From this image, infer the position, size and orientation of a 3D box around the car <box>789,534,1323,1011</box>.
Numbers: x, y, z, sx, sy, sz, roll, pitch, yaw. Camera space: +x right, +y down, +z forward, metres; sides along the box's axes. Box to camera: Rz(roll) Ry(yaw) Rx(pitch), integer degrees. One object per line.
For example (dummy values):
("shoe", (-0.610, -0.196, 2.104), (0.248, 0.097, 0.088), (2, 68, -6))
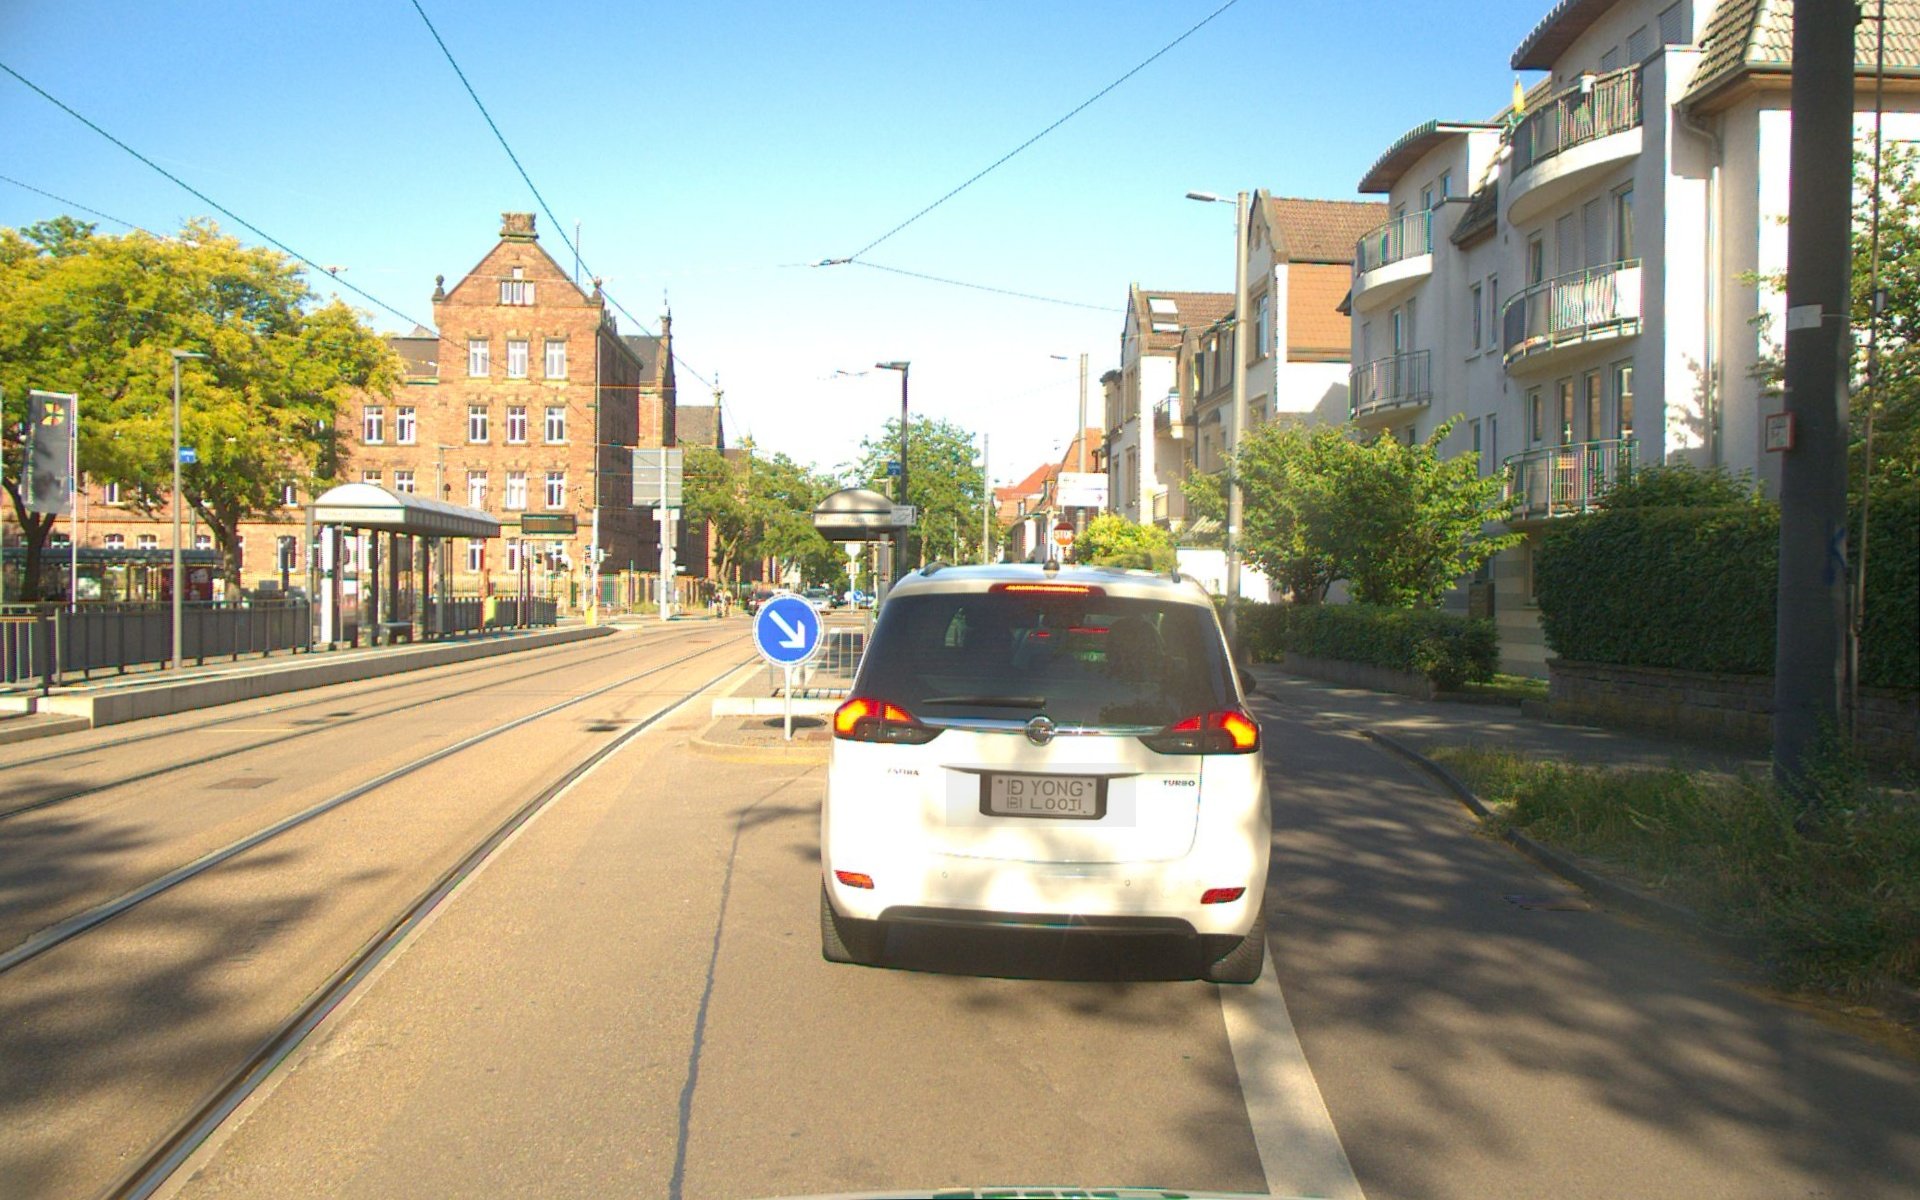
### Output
("car", (0.508, 0.651, 7.877), (1.852, 1.639, 4.231), (0, -2, 5))

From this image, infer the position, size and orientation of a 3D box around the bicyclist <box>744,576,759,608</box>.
("bicyclist", (-13.283, -0.518, 105.472), (0.932, 2.049, 0.822), (0, 0, -6))

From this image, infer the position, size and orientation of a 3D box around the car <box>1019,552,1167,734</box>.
("car", (1.728, 0.480, 20.699), (1.672, 2.049, 3.909), (0, 0, 7))

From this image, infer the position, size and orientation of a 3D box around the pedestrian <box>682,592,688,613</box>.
("pedestrian", (-19.034, 0.148, 114.530), (0.354, 1.463, 0.549), (0, 0, -1))

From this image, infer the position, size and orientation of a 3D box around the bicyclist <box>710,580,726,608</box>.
("bicyclist", (-15.063, -0.378, 102.855), (0.925, 1.765, 0.860), (0, 0, -3))

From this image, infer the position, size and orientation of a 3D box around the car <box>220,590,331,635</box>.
("car", (-28.911, 0.521, 69.926), (3.911, 1.821, 1.997), (0, 0, -7))

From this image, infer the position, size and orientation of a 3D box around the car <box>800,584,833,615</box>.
("car", (-9.277, 0.001, 107.295), (1.953, 1.947, 3.998), (0, 0, -2))

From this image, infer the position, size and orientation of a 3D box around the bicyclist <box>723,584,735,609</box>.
("bicyclist", (-15.225, -0.208, 109.011), (0.688, 1.635, 0.657), (0, 0, -3))

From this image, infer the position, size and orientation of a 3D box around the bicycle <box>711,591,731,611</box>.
("bicycle", (-15.480, 0.053, 107.181), (1.125, 1.319, 2.858), (0, 0, -4))

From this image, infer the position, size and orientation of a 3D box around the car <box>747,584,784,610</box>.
("car", (-13.330, -0.235, 113.714), (1.952, 1.752, 4.001), (0, 0, 2))

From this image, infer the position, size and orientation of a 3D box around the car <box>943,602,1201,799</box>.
("car", (1.072, 0.763, 14.548), (1.951, 1.468, 4.003), (0, 0, 7))

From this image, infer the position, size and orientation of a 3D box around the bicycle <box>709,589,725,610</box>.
("bicycle", (-15.060, -0.045, 102.566), (0.805, 1.319, 2.675), (0, 0, -4))

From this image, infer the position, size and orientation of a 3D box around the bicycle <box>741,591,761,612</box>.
("bicycle", (-13.317, 0.113, 105.474), (1.125, 1.319, 2.858), (0, 0, -4))

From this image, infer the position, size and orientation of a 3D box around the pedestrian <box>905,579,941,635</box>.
("pedestrian", (-1.385, 0.258, 61.987), (1.135, 2.049, 1.116), (1, -1, -13))
